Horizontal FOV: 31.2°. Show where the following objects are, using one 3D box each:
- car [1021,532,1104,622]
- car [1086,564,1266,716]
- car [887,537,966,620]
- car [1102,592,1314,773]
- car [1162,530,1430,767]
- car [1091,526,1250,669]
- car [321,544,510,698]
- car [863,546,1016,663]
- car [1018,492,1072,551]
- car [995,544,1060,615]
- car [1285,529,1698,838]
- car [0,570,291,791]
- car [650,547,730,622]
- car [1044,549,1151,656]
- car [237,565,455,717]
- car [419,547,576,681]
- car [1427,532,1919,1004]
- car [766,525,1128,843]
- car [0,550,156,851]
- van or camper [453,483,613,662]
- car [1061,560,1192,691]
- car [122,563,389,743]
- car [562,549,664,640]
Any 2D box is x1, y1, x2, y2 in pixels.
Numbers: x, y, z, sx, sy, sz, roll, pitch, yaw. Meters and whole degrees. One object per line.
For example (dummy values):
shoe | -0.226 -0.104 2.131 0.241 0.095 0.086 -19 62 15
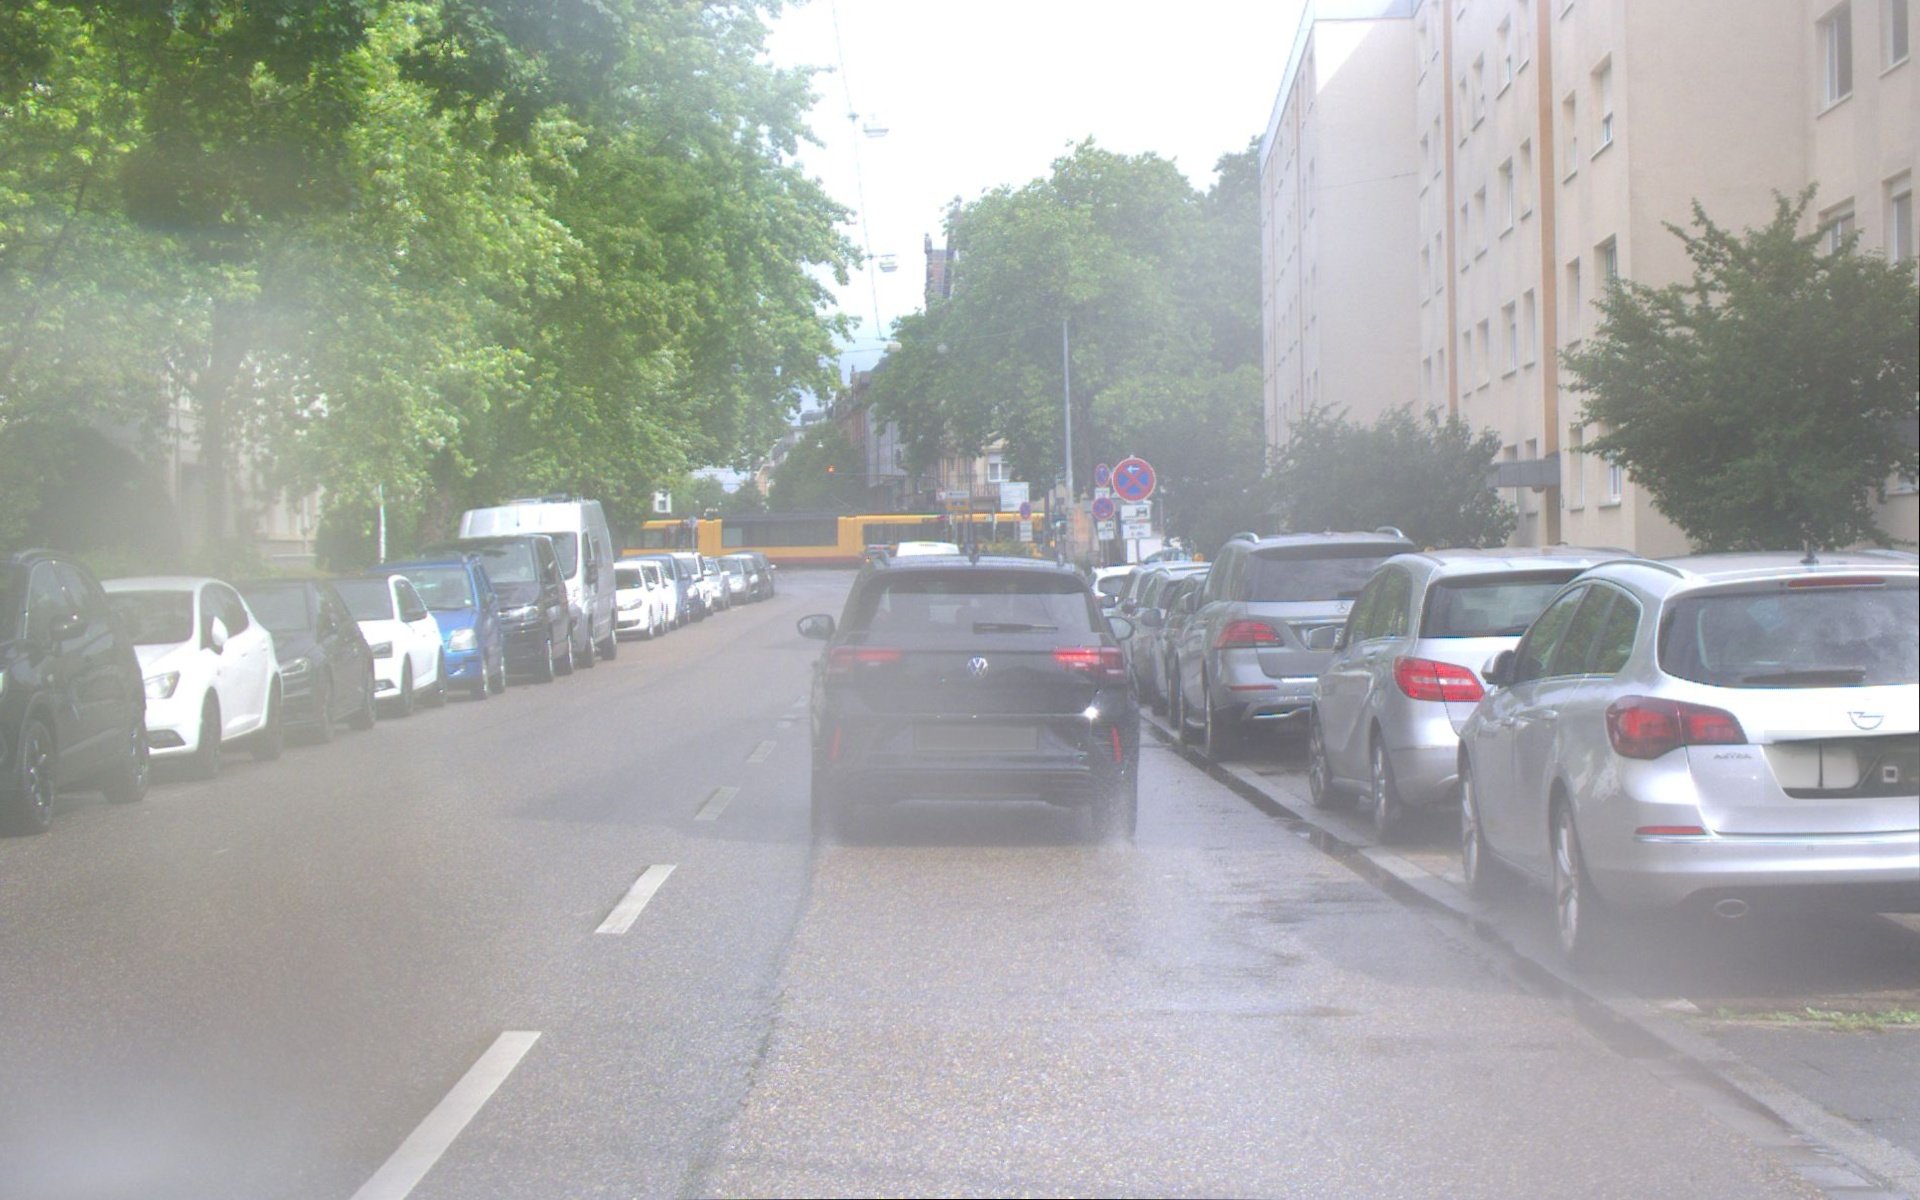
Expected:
car | 2.174 -0.511 73.481 1.666 1.831 4.000 -2 1 1
car | 2.297 0.389 37.418 1.604 1.500 4.032 -2 1 -1
car | -0.844 -0.548 89.650 1.836 2.096 4.000 1 0 2
car | 2.280 0.727 32.404 1.604 1.500 4.032 -2 1 -1
car | 2.565 0.324 27.013 1.604 1.667 4.032 -2 1 -1
car | 2.552 -0.058 42.408 1.604 1.630 4.032 -2 1 -1
car | -6.211 0.203 39.542 1.586 1.634 3.921 -2 1 -1
car | -0.236 0.058 46.780 1.813 1.498 3.999 1 0 3
car | 2.737 -2.544 111.377 1.666 1.831 4.000 -2 1 1
car | 1.812 -0.566 92.791 1.666 1.831 4.000 -2 1 1
car | 2.879 0.395 19.382 1.604 1.500 4.032 -2 1 -1
car | -6.014 0.527 24.981 1.586 1.413 3.921 -2 1 -1
car | -6.224 -0.370 79.458 1.586 1.634 3.921 -2 1 -1
car | 2.384 0.017 60.384 1.604 1.759 4.032 -2 1 -1
car | -6.279 0.375 35.498 1.586 1.413 3.921 -2 1 -1
car | -6.053 0.154 45.329 1.586 1.634 3.921 -2 1 -1
car | 2.964 0.527 13.508 1.695 1.533 4.032 -2 1 1
car | 0.027 0.399 20.090 1.873 1.640 4.061 1 1 3
car | -5.876 0.527 19.806 1.586 1.570 4.014 -2 1 -1
van or camper | -6.336 -0.422 51.476 1.802 2.485 5.021 -2 1 -1
car | 2.390 0.329 50.049 1.604 1.759 4.032 -2 1 -1
car | -6.130 0.414 30.273 1.586 1.413 3.921 -2 1 -1
car | -6.604 -0.126 65.692 1.586 1.634 3.921 -2 1 -1
